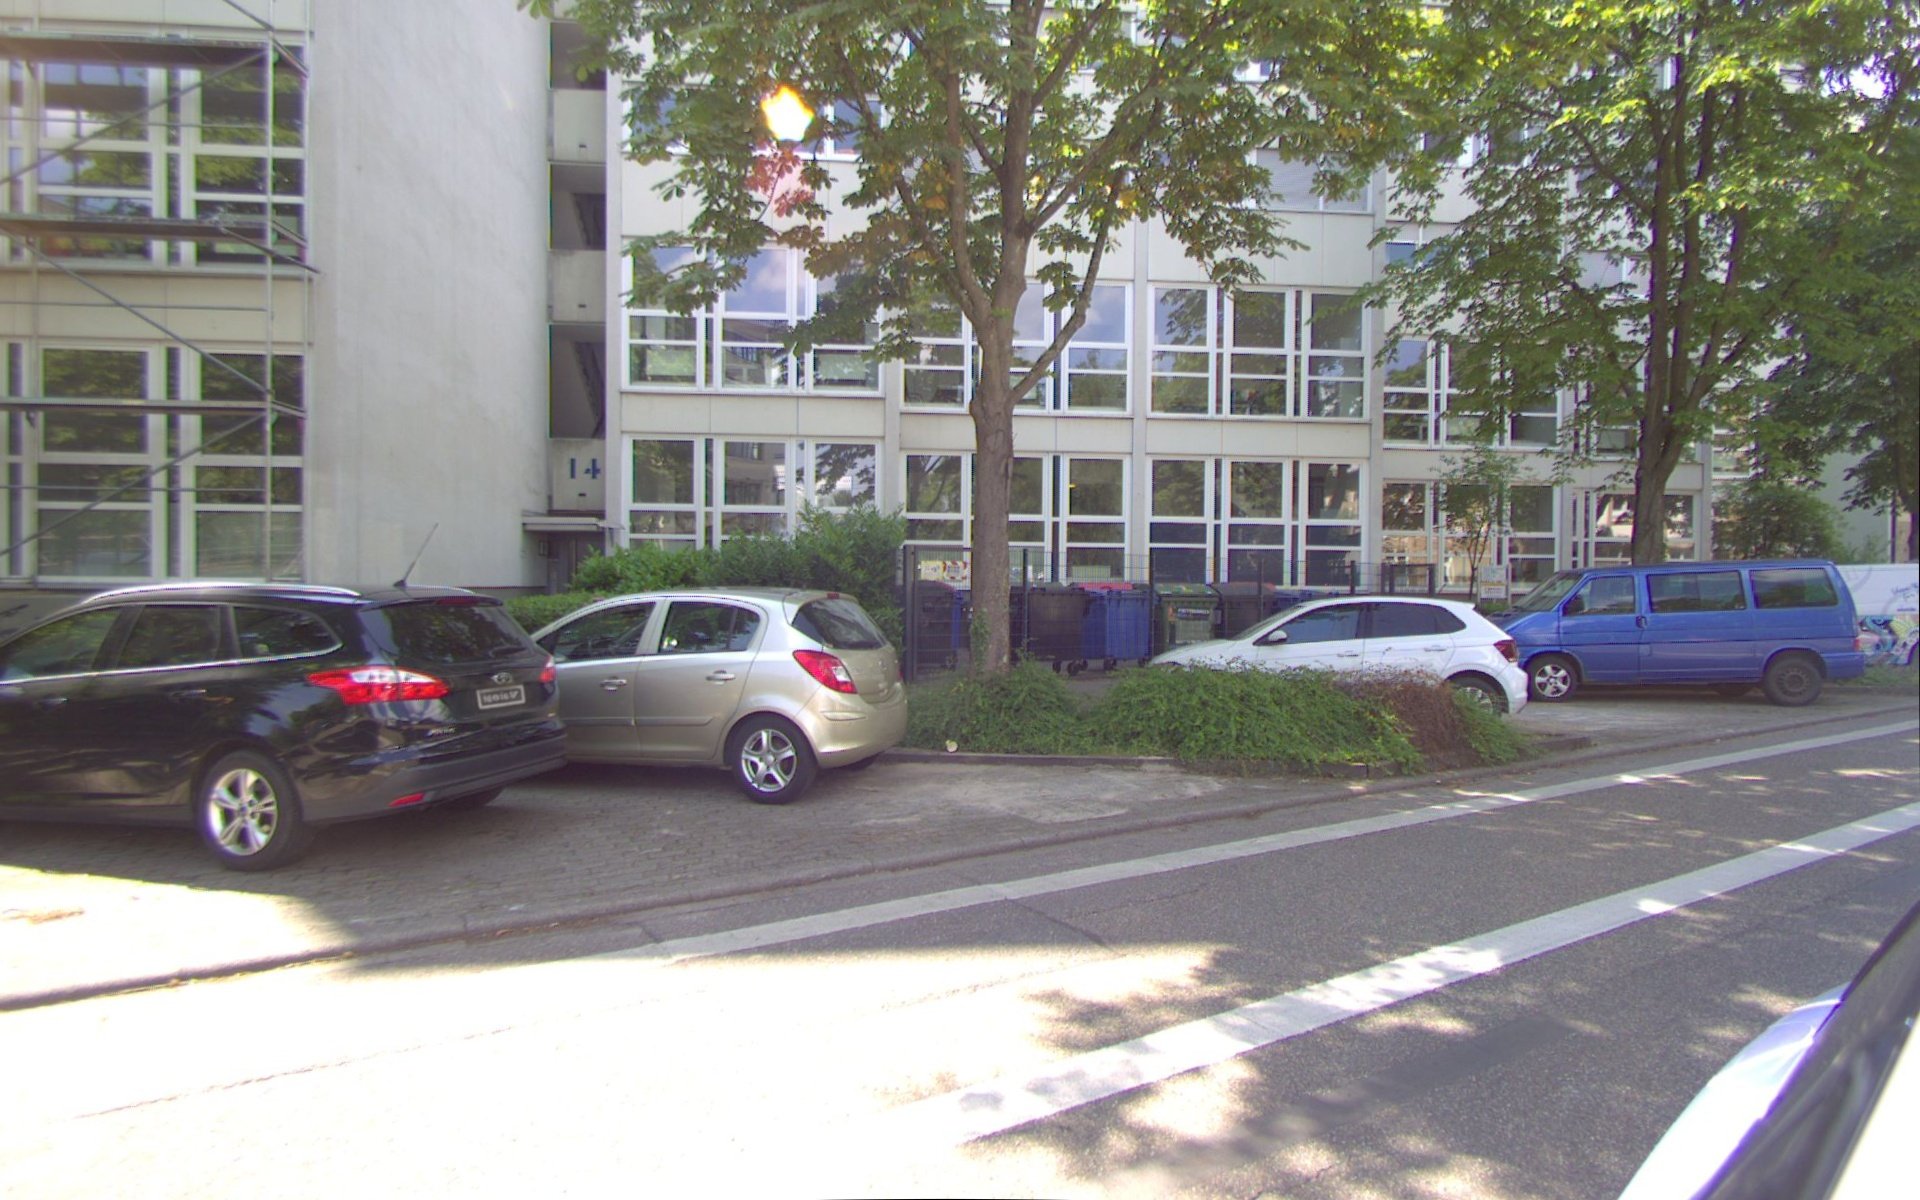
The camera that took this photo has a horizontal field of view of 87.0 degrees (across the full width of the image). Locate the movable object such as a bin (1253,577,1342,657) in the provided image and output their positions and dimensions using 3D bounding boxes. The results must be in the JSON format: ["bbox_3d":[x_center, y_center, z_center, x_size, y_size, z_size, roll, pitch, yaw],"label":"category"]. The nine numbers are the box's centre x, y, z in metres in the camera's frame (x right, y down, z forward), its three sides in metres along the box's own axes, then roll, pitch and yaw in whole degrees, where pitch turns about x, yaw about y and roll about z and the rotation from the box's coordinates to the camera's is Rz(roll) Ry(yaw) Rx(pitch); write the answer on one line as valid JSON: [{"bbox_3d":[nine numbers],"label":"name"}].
[{"bbox_3d":[6.209,0.300,18.661,1.157,1.416,1.040,0,0,-23],"label":"movable object such as a bin"}]

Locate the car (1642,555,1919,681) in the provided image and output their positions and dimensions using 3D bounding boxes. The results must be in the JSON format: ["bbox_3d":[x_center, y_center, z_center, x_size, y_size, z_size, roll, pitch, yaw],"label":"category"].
[{"bbox_3d":[14.865,0.268,17.648,4.576,2.039,1.986,0,1,22],"label":"car"}]

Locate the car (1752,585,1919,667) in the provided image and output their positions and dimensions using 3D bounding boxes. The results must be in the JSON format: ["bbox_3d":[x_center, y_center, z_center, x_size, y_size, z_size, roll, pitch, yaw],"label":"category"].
[{"bbox_3d":[17.857,0.463,19.366,3.958,1.504,1.656,1,1,25],"label":"car"}]

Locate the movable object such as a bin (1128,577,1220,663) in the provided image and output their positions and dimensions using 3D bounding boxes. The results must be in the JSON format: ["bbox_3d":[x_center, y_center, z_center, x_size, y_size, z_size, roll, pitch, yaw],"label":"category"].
[{"bbox_3d":[3.652,0.325,17.313,1.157,1.416,1.040,0,0,-23],"label":"movable object such as a bin"}]

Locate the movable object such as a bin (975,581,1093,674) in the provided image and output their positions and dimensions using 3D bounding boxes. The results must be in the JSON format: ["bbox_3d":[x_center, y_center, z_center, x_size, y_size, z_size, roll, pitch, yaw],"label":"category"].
[{"bbox_3d":[1.129,0.389,15.593,1.423,1.347,1.127,0,0,-29],"label":"movable object such as a bin"}]

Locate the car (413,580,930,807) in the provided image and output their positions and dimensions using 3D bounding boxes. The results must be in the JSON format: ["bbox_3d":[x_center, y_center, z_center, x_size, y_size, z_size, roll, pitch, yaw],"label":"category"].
[{"bbox_3d":[-2.125,0.591,7.859,3.486,1.480,1.747,0,1,13],"label":"car"}]

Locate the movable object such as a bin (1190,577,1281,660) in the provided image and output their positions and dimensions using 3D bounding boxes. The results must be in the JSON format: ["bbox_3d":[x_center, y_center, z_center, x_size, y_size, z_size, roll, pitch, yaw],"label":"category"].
[{"bbox_3d":[4.881,0.313,17.963,1.157,1.416,1.040,0,0,-23],"label":"movable object such as a bin"}]

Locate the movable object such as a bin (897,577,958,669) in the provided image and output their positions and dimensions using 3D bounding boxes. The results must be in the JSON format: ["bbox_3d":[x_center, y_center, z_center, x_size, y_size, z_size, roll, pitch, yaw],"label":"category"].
[{"bbox_3d":[-0.526,0.354,16.174,0.787,1.423,0.769,0,0,-17],"label":"movable object such as a bin"}]

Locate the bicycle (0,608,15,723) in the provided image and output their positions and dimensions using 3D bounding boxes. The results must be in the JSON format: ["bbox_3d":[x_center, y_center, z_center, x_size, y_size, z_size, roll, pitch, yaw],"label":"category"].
[{"bbox_3d":[-9.823,0.669,9.257,0.558,1.144,1.944,0,1,0],"label":"bicycle"}]

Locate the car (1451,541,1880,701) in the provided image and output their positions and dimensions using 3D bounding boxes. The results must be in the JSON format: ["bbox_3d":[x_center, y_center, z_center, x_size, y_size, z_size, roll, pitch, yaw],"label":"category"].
[{"bbox_3d":[9.752,0.242,14.455,4.562,2.039,1.992,0,1,14],"label":"car"}]

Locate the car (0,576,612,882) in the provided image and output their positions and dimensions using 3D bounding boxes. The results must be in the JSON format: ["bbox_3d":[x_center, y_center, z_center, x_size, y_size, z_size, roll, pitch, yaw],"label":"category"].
[{"bbox_3d":[-4.480,0.606,6.259,4.134,1.488,1.747,0,1,13],"label":"car"}]

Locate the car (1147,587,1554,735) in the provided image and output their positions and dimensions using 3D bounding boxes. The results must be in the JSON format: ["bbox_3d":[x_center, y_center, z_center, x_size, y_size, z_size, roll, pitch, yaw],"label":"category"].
[{"bbox_3d":[4.079,0.584,11.185,3.920,1.431,1.708,0,1,13],"label":"car"}]

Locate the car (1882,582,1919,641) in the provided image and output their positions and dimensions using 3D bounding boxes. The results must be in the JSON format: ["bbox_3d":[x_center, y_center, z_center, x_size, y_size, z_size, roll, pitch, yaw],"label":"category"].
[{"bbox_3d":[25.523,0.378,24.761,3.939,1.403,1.745,3,3,13],"label":"car"}]

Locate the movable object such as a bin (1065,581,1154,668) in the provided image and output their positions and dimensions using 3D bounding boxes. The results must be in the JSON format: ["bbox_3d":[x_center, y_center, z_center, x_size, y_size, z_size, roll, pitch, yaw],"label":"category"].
[{"bbox_3d":[2.422,0.375,16.439,1.055,1.347,0.972,0,0,-29],"label":"movable object such as a bin"}]

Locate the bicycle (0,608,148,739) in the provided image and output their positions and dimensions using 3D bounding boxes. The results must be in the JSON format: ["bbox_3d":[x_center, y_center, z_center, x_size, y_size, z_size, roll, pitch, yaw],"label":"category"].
[{"bbox_3d":[-8.938,0.673,9.677,0.558,1.144,2.235,0,1,0],"label":"bicycle"}]
